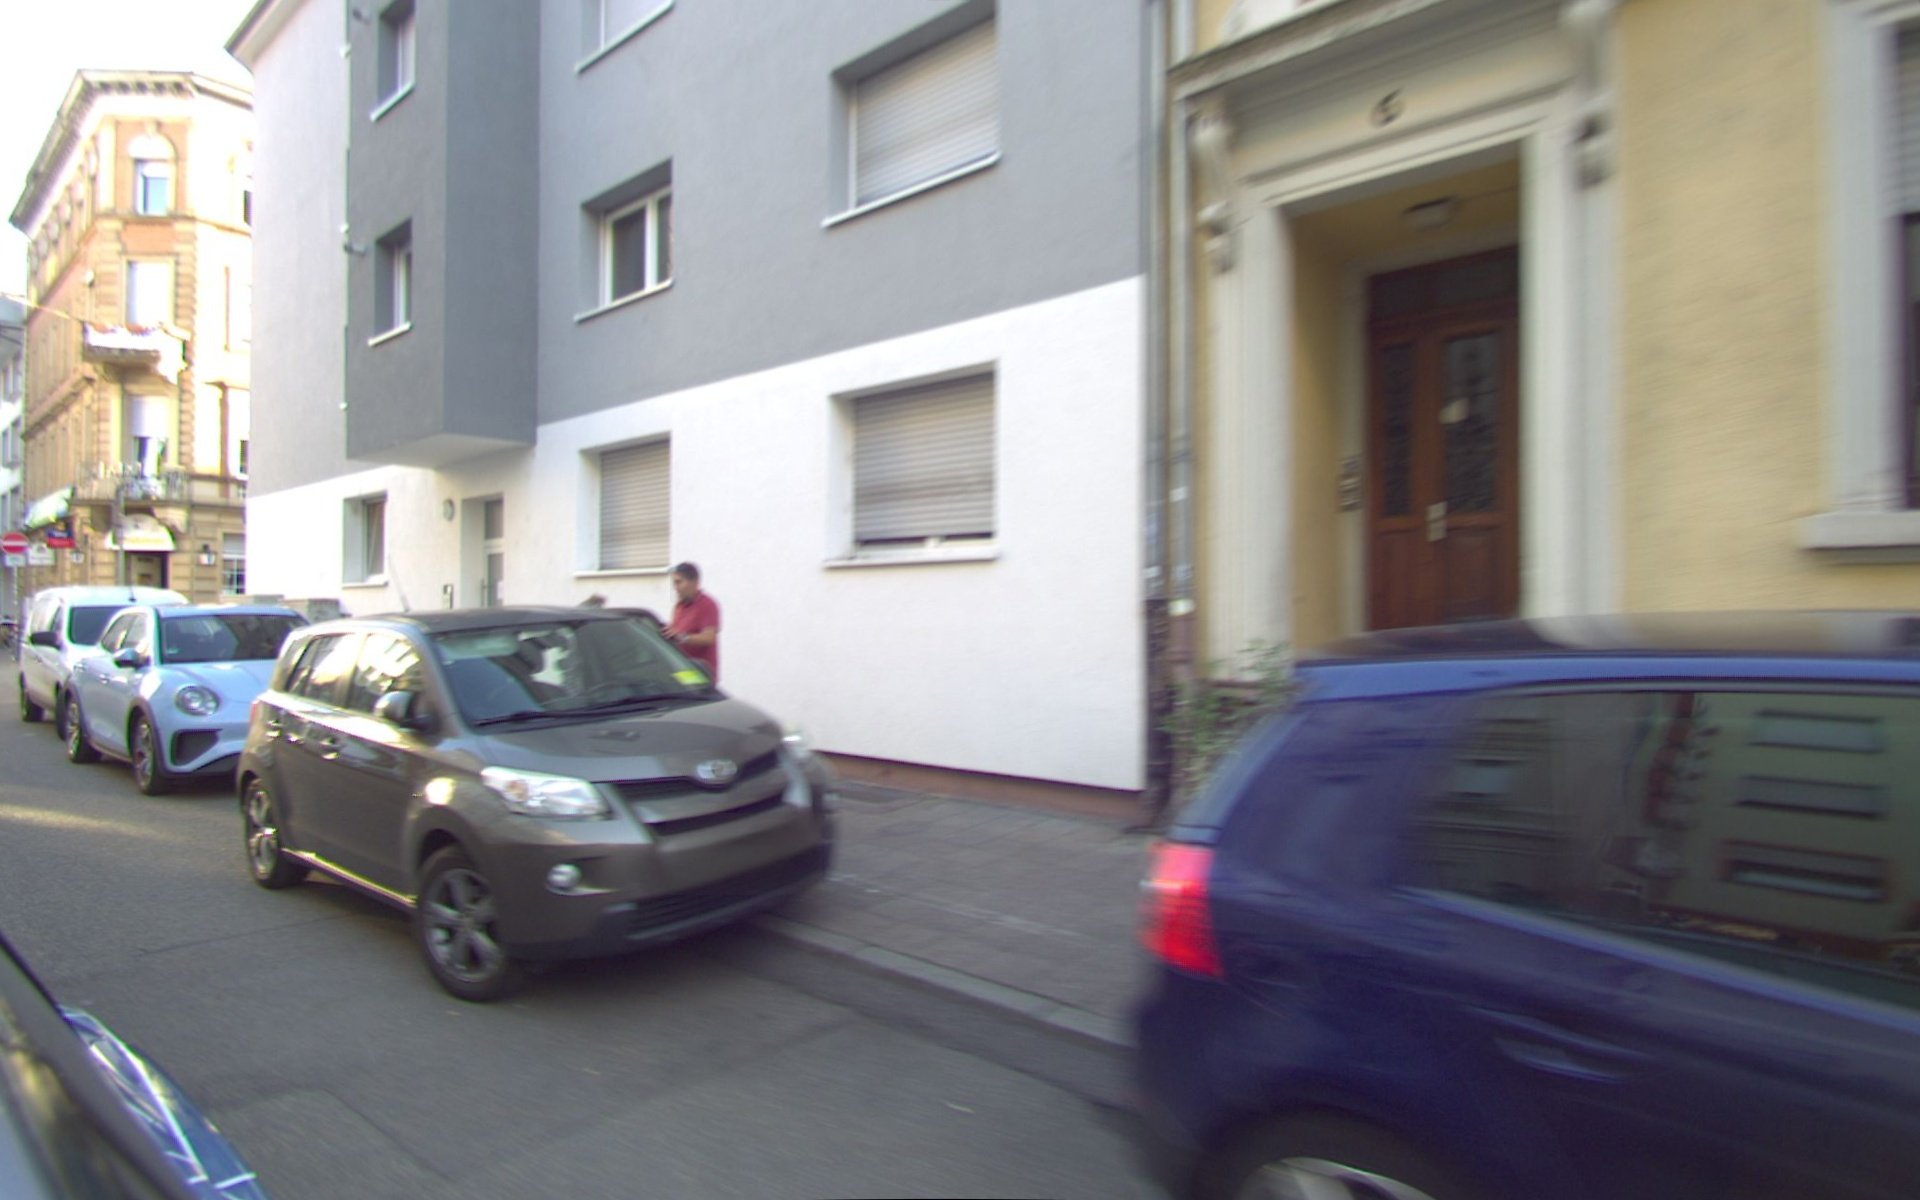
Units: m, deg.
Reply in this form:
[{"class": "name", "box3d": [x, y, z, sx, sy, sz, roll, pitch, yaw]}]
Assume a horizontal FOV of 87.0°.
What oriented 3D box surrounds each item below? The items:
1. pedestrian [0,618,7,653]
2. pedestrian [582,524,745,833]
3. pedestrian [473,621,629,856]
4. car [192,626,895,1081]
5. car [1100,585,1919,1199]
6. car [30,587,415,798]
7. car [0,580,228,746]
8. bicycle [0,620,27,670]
[{"class": "pedestrian", "box3d": [-37.585, 1.385, 39.155, 0.824, 1.349, 0.808, 1, -1, -29]}, {"class": "pedestrian", "box3d": [-2.093, 0.520, 7.195, 0.773, 2.029, 0.792, -1, -1, 31]}, {"class": "pedestrian", "box3d": [-2.626, 0.848, 6.545, 0.666, 1.421, 0.659, 0, -1, 13]}, {"class": "car", "box3d": [-2.389, 0.852, 5.197, 4.130, 1.342, 1.666, 0, -1, 41]}, {"class": "car", "box3d": [2.265, 0.743, 1.337, 3.828, 1.520, 1.710, -1, -2, 41]}, {"class": "car", "box3d": [-7.098, 0.764, 9.589, 4.358, 1.576, 1.747, -2, -2, 37]}, {"class": "car", "box3d": [-11.058, 0.738, 13.091, 4.182, 1.827, 1.614, -1, -2, 40]}, {"class": "bicycle", "box3d": [-25.902, 1.213, 27.361, 1.760, 1.285, 0.652, -1, 2, 37]}]
